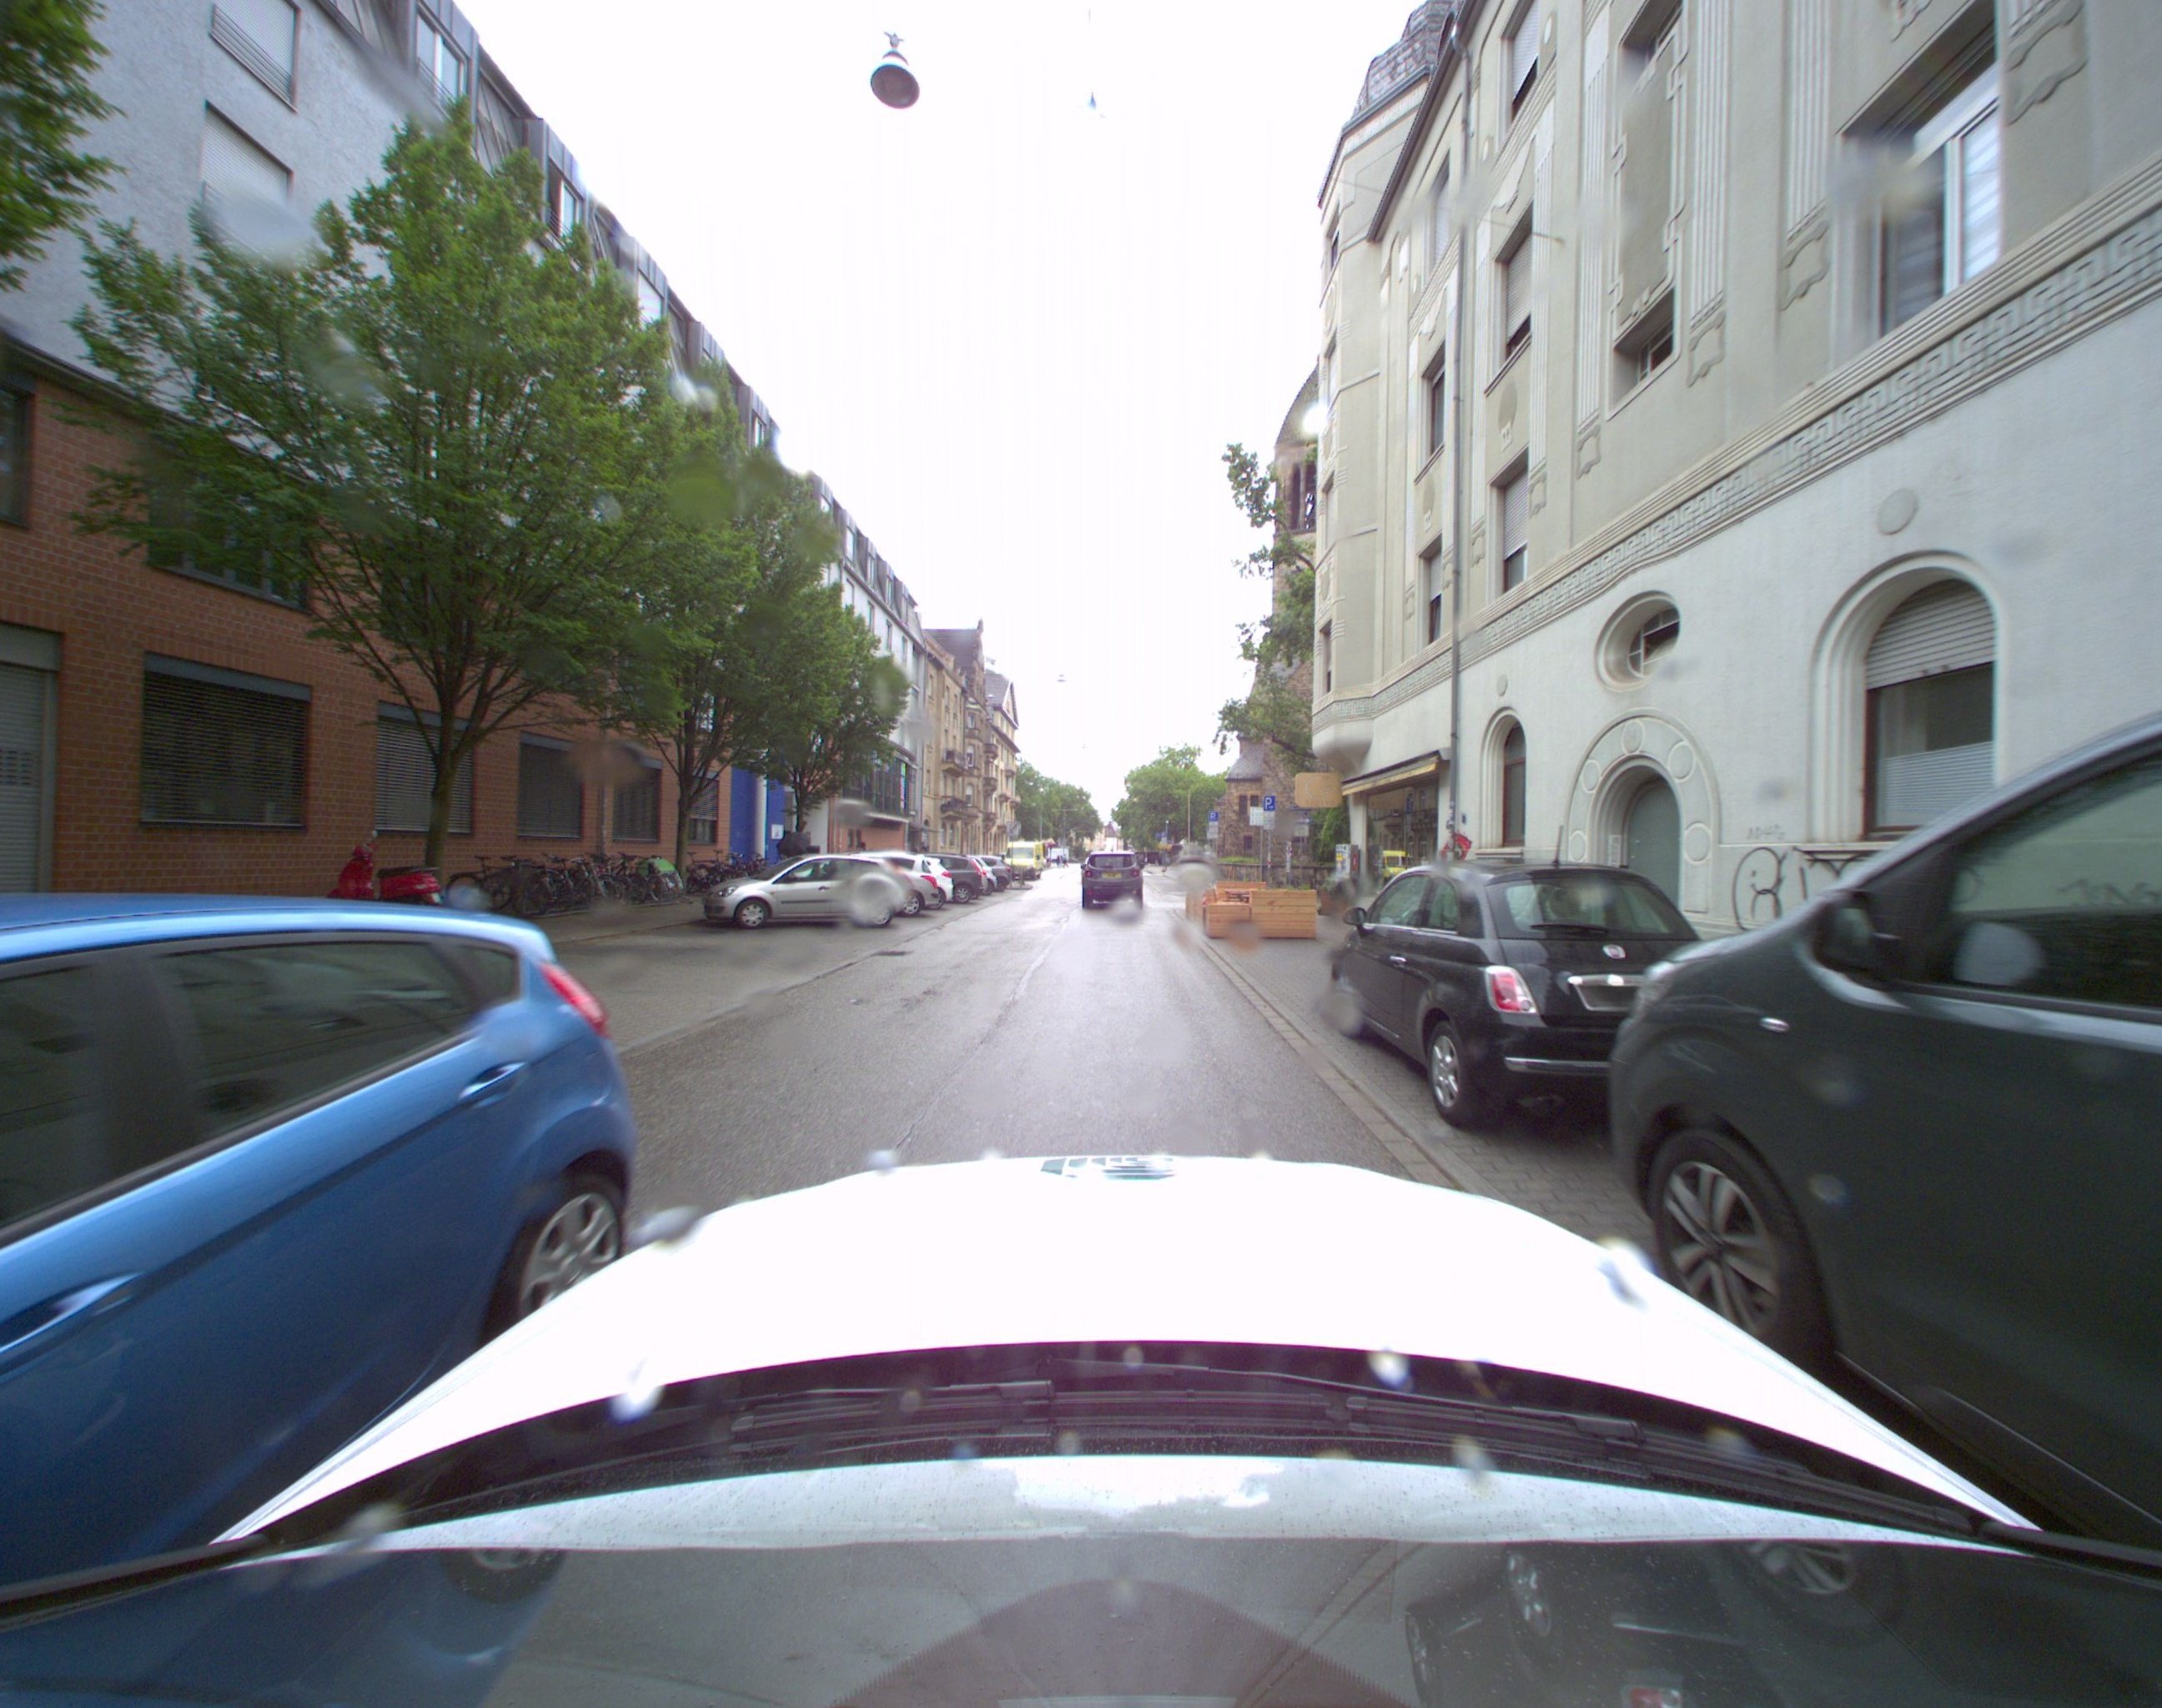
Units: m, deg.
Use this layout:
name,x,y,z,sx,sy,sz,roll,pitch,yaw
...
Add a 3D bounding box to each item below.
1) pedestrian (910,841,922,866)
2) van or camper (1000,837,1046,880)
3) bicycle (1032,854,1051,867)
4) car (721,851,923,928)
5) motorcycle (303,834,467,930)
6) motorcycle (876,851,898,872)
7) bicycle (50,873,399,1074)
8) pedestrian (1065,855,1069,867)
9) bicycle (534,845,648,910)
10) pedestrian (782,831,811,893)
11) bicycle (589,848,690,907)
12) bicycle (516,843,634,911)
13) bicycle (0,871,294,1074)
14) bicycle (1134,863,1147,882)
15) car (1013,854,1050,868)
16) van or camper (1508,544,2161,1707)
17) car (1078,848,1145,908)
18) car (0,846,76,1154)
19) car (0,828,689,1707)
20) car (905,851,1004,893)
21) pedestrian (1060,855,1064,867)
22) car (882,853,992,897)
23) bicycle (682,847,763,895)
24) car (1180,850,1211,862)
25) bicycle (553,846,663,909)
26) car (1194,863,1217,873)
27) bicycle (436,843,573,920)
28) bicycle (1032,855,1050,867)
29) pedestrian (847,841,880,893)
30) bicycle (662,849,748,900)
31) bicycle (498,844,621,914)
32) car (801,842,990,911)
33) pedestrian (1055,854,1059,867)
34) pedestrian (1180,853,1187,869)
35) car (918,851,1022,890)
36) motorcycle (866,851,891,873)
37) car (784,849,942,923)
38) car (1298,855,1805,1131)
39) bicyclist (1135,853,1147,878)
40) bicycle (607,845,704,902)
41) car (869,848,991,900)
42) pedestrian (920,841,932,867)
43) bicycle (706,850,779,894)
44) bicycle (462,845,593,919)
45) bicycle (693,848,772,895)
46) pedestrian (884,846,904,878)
name,x,y,z,sx,sy,sz,roll,pitch,yaw
pedestrian,-11.458,-0.033,56.492,0.663,1.675,0.791,0,0,-21
van or camper,-3.728,0.381,53.638,2.113,2.531,6.877,-3,-2,2
bicycle,-4.729,0.777,97.345,2.115,1.444,0.536,0,0,-18
car,-5.365,0.666,16.982,3.728,1.452,1.668,0,0,-33
motorcycle,-10.405,0.405,12.201,1.873,1.225,0.657,5,0,5
motorcycle,-11.325,0.412,47.667,0.751,1.174,2.114,3,0,-1
bicycle,-6.345,0.783,6.271,0.749,1.158,2.210,2,1,-14
pedestrian,-1.741,0.909,103.934,0.466,1.585,0.752,1,0,1
bicycle,-10.071,0.468,16.778,1.890,1.152,0.553,5,0,-1
pedestrian,-7.983,0.226,22.865,0.609,1.707,0.433,1,-2,2
bicycle,-10.082,0.532,18.617,1.890,1.152,0.553,5,0,-1
bicycle,-10.052,0.449,16.219,1.890,1.152,0.553,5,0,-1
bicycle,-7.108,0.760,6.070,0.782,1.158,2.136,2,1,-14
bicycle,3.456,1.049,47.044,0.702,1.054,1.814,0,0,3
car,-5.343,0.739,87.936,3.435,1.316,1.762,3,-1,-31
van or camper,2.613,0.475,0.681,2.014,1.891,5.057,0,0,2
car,0.911,0.691,25.161,1.892,1.671,4.507,0,0,1
car,-6.559,0.680,2.894,3.498,1.435,1.632,0,0,-40
car,-2.373,0.690,1.083,1.663,1.465,4.004,0,0,1
car,-4.845,0.683,31.202,3.395,1.507,1.665,2,-1,-28
pedestrian,-2.360,0.870,103.286,0.466,1.585,0.752,1,0,1
car,-5.024,0.731,28.516,3.397,1.458,1.664,2,-1,-31
bicycle,-9.887,0.468,22.480,1.890,1.152,0.553,5,0,-1
car,22.299,0.317,158.771,5.875,2.334,2.063,0,0,5
bicycle,-9.995,0.485,17.249,1.890,1.152,0.553,5,0,-1
car,19.093,2.145,124.958,3.161,1.501,1.549,0,0,19
bicycle,-10.117,0.479,14.329,1.890,1.152,0.553,5,0,-1
bicycle,-4.827,0.811,98.341,2.098,1.444,0.487,0,0,-18
pedestrian,-7.664,0.451,28.719,0.820,1.752,0.759,3,0,9
bicycle,-9.913,0.540,21.489,1.890,1.152,0.553,5,0,-1
bicycle,-10.020,0.478,15.682,1.890,1.152,0.553,5,0,-1
car,-5.100,0.644,22.484,4.538,1.539,2.315,5,-3,-31
pedestrian,-3.048,0.855,103.009,0.466,1.585,0.659,1,0,1
pedestrian,10.562,0.728,84.082,0.688,1.711,0.684,0,0,2
car,-4.621,0.689,33.982,3.840,1.507,1.971,2,-1,-28
motorcycle,-11.300,0.434,45.512,0.750,1.174,2.117,3,0,3
car,-5.273,0.708,19.754,3.397,1.654,1.618,0,0,-31
car,2.890,0.713,6.014,1.703,1.400,3.706,0,0,2
bicyclist,3.460,0.670,47.047,0.702,1.403,1.172,0,0,3
bicycle,-10.026,0.459,19.241,1.890,1.152,0.553,5,0,-1
car,-4.743,0.642,25.645,3.395,1.542,1.665,2,-1,-29
pedestrian,-10.814,0.001,56.761,0.663,1.757,0.791,0,0,-21
bicycle,-10.287,0.542,24.806,1.890,1.152,0.553,5,0,-1
bicycle,-10.079,0.498,14.859,1.890,1.152,0.553,5,0,-1
bicycle,-9.906,0.492,23.193,1.890,1.152,0.553,5,0,-1
pedestrian,-9.529,0.410,41.489,0.705,1.551,0.609,3,0,9
